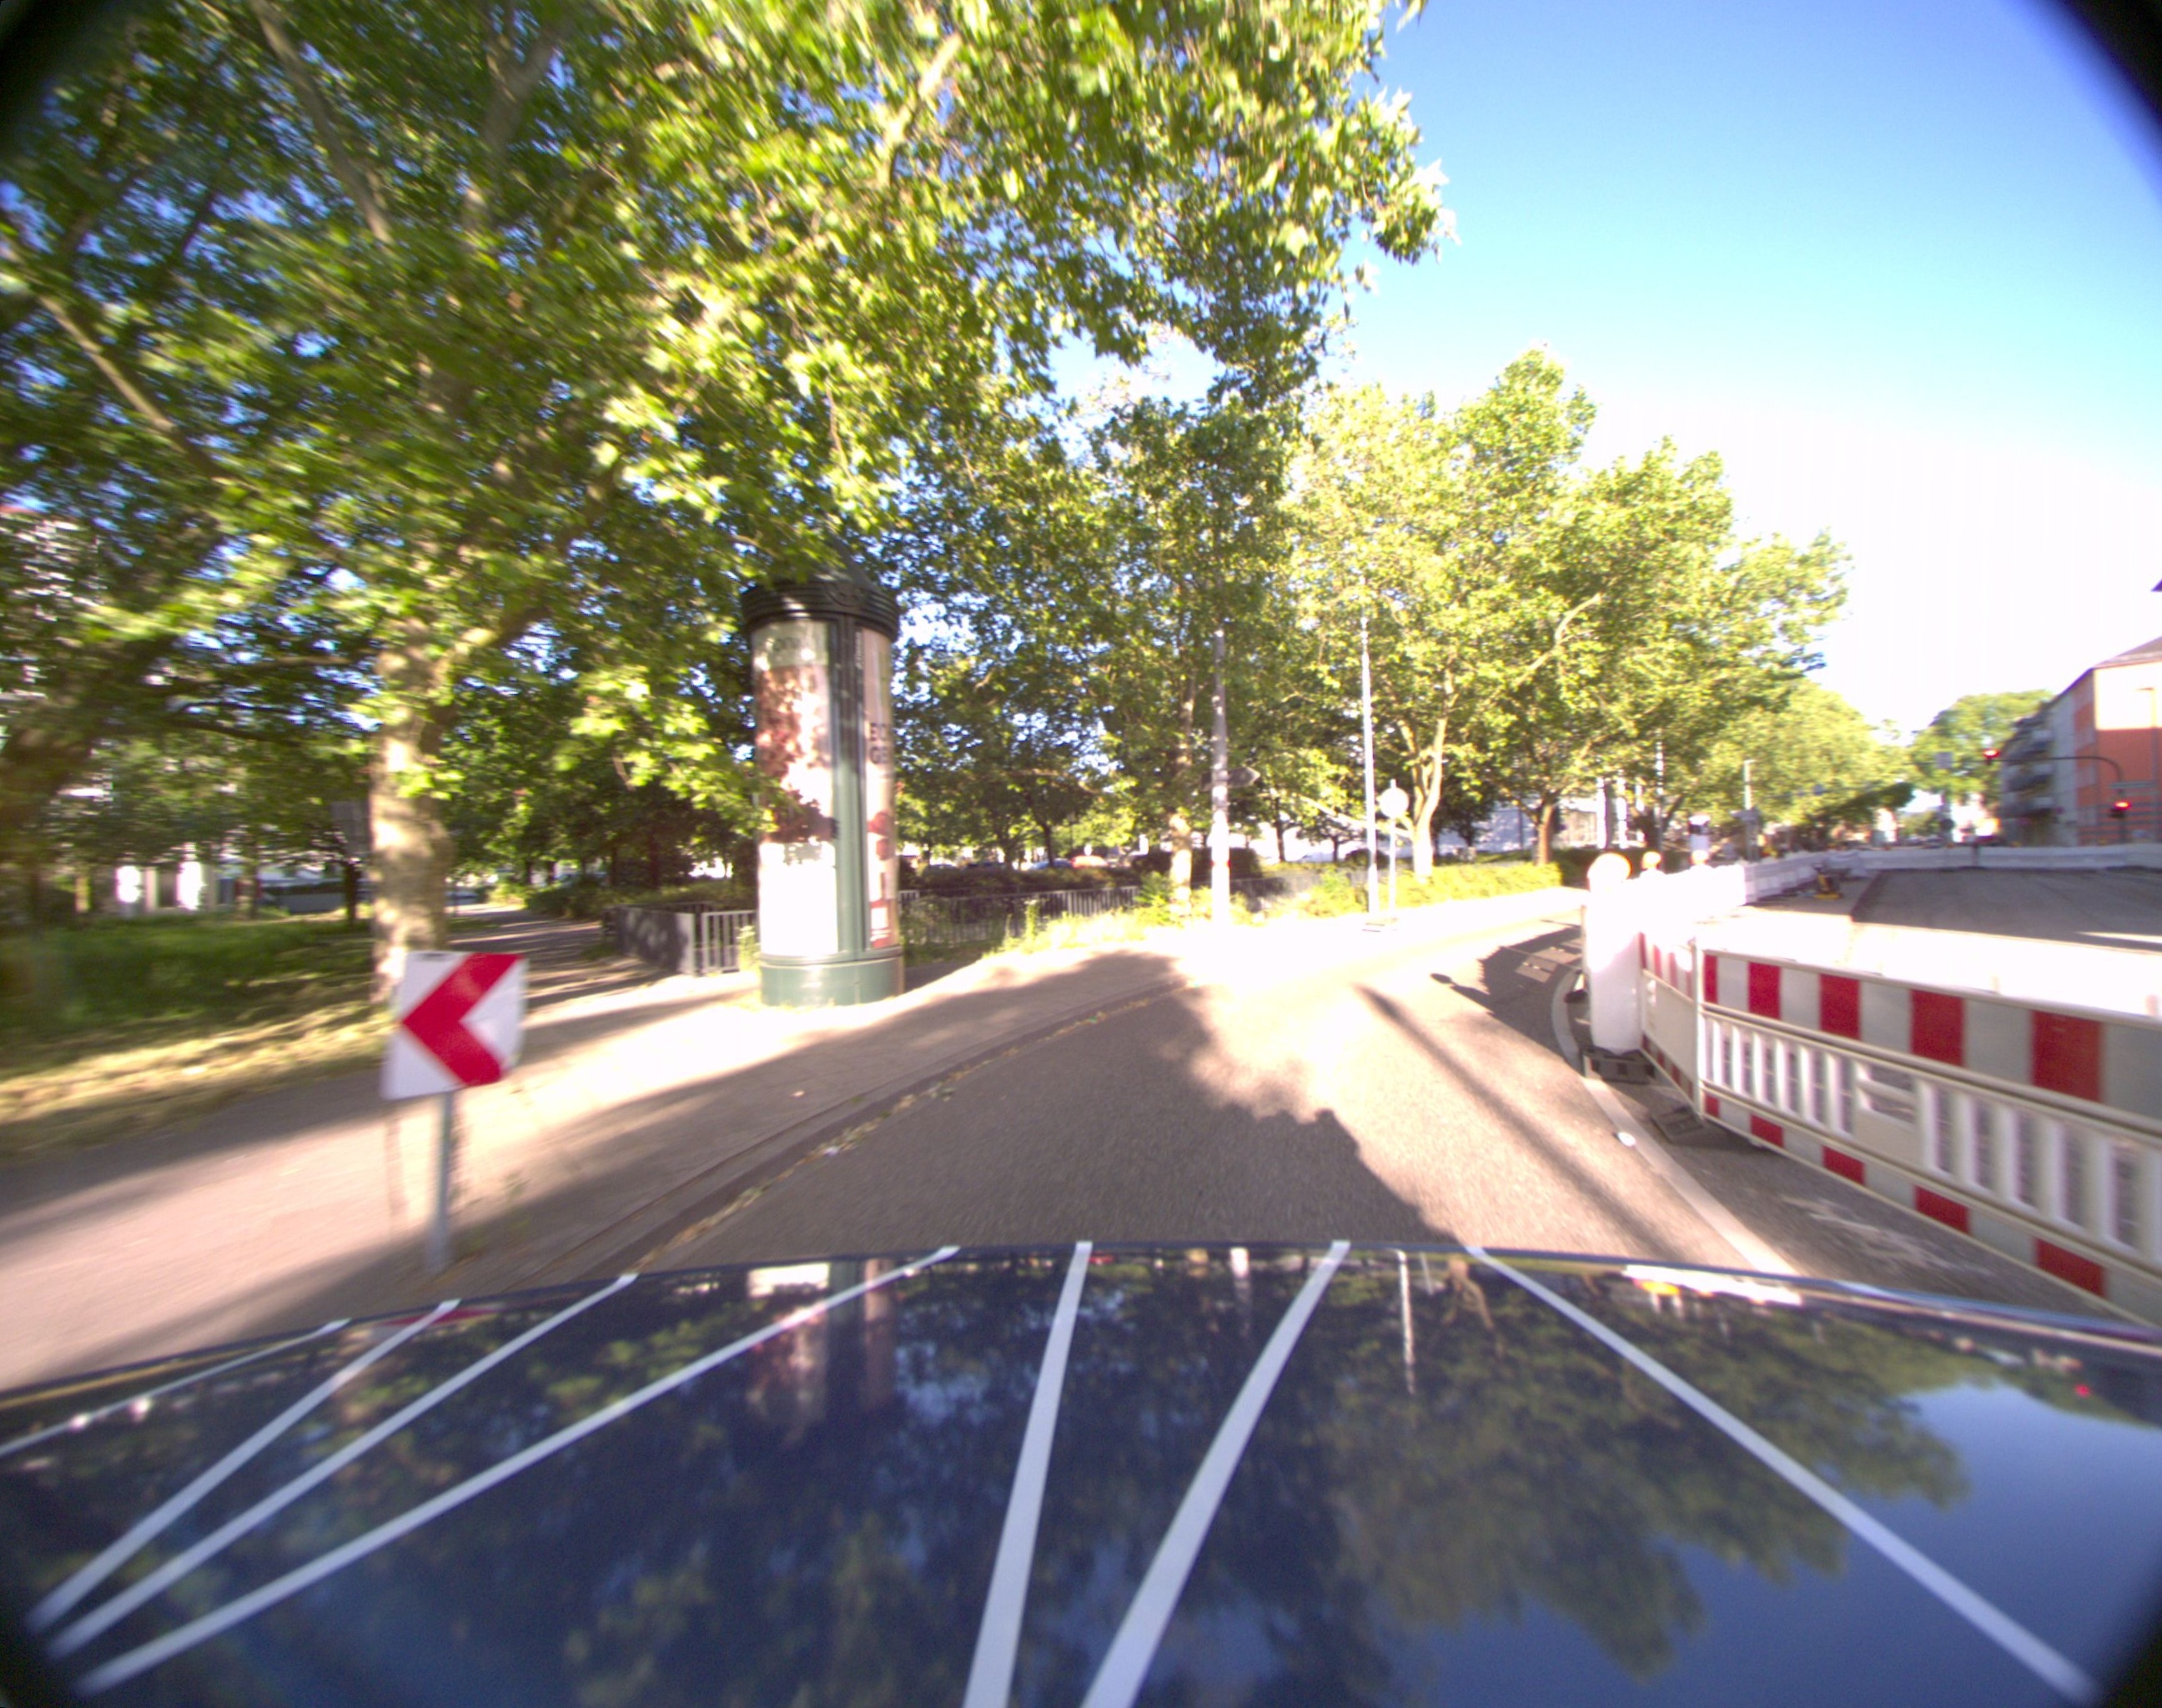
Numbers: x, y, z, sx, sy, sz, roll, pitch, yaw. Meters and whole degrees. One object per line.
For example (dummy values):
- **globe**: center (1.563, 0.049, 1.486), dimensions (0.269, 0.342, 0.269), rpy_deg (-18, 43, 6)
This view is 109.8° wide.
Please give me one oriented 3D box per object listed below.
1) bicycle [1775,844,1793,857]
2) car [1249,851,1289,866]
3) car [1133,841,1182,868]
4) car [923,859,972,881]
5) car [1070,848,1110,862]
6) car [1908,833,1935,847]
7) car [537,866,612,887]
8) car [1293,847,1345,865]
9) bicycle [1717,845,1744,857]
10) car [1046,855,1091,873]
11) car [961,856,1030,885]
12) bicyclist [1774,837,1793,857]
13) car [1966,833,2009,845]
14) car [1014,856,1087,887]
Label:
- **bicycle**: center (59.736, -0.258, 64.566), dimensions (1.932, 1.060, 0.702), rpy_deg (0, -1, -35)
- **car**: center (20.369, 0.499, 82.414), dimensions (1.633, 1.476, 3.840), rpy_deg (-2, 0, -45)
- **car**: center (7.833, 0.011, 77.179), dimensions (5.170, 2.557, 1.995), rpy_deg (-1, -1, -44)
- **car**: center (-12.389, 1.454, 70.559), dimensions (4.054, 1.935, 1.919), rpy_deg (-1, -2, -44)
- **car**: center (1.160, 0.123, 98.451), dimensions (4.898, 1.776, 2.094), rpy_deg (0, 2, 38)
- **car**: center (112.819, -1.886, 102.045), dimensions (1.994, 1.806, 5.135), rpy_deg (-1, 1, 42)
- **car**: center (-39.923, 1.762, 59.960), dimensions (4.667, 1.466, 2.009), rpy_deg (-1, -2, -43)
- **car**: center (24.566, 0.231, 78.558), dimensions (2.113, 1.818, 4.706), rpy_deg (-1, 0, -45)
- **bicycle**: center (55.765, -0.287, 65.279), dimensions (1.632, 0.994, 0.623), rpy_deg (0, 3, 22)
- **car**: center (-1.240, 0.999, 75.264), dimensions (3.990, 1.555, 2.004), rpy_deg (-3, -1, 29)
- **car**: center (-5.156, 0.984, 46.244), dimensions (4.008, 1.616, 1.549), rpy_deg (-1, -2, -43)
- **bicyclist**: center (59.698, -0.628, 64.607), dimensions (1.009, 1.630, 0.948), rpy_deg (-2, -1, -35)
- **car**: center (134.789, -2.266, 113.017), dimensions (1.837, 1.689, 3.989), rpy_deg (-1, 0, -41)
- **car**: center (-1.701, 0.952, 43.130), dimensions (1.759, 1.616, 4.008), rpy_deg (-1, 0, 43)
